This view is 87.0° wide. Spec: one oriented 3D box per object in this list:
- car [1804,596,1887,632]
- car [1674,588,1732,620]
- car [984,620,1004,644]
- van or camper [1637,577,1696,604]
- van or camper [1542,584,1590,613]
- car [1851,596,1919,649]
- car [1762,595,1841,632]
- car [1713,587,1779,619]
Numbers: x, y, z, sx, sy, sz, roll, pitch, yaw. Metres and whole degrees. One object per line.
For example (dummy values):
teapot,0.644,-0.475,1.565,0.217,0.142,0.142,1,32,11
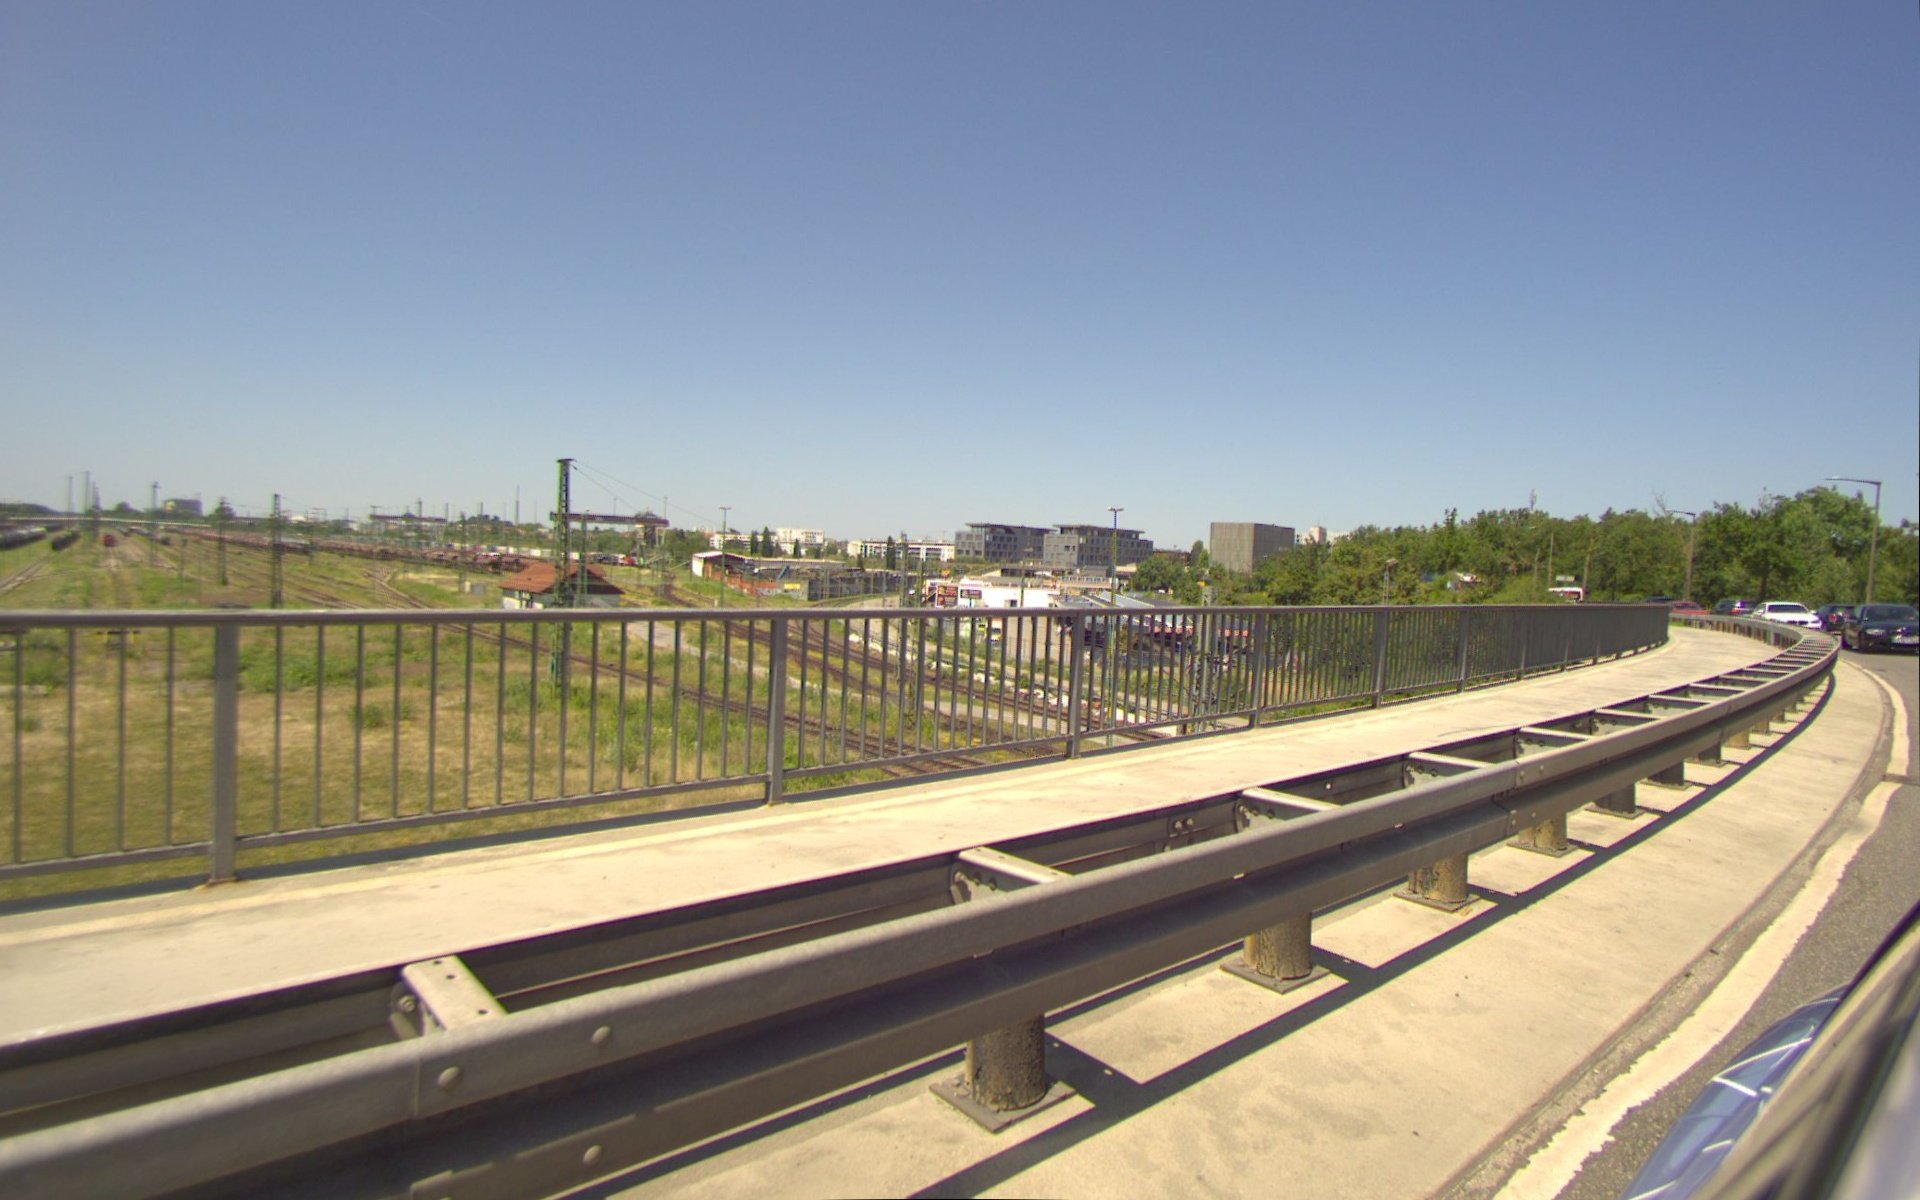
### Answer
car,40.751,0.598,46.678,1.776,1.436,3.743,3,3,24
car,43.043,0.177,58.720,1.882,1.675,4.223,1,2,25
car,3.772,3.467,111.809,2.113,2.381,4.925,-3,0,3
van or camper,51.339,-0.726,73.646,1.972,1.782,4.676,2,2,16
van or camper,55.699,-0.168,93.154,2.024,2.569,5.861,1,1,13
car,27.116,0.618,29.282,1.561,1.434,4.069,1,1,36
car,34.604,0.527,41.719,1.801,1.446,3.678,1,1,29
car,46.776,0.153,60.309,1.879,1.675,4.230,1,2,21
